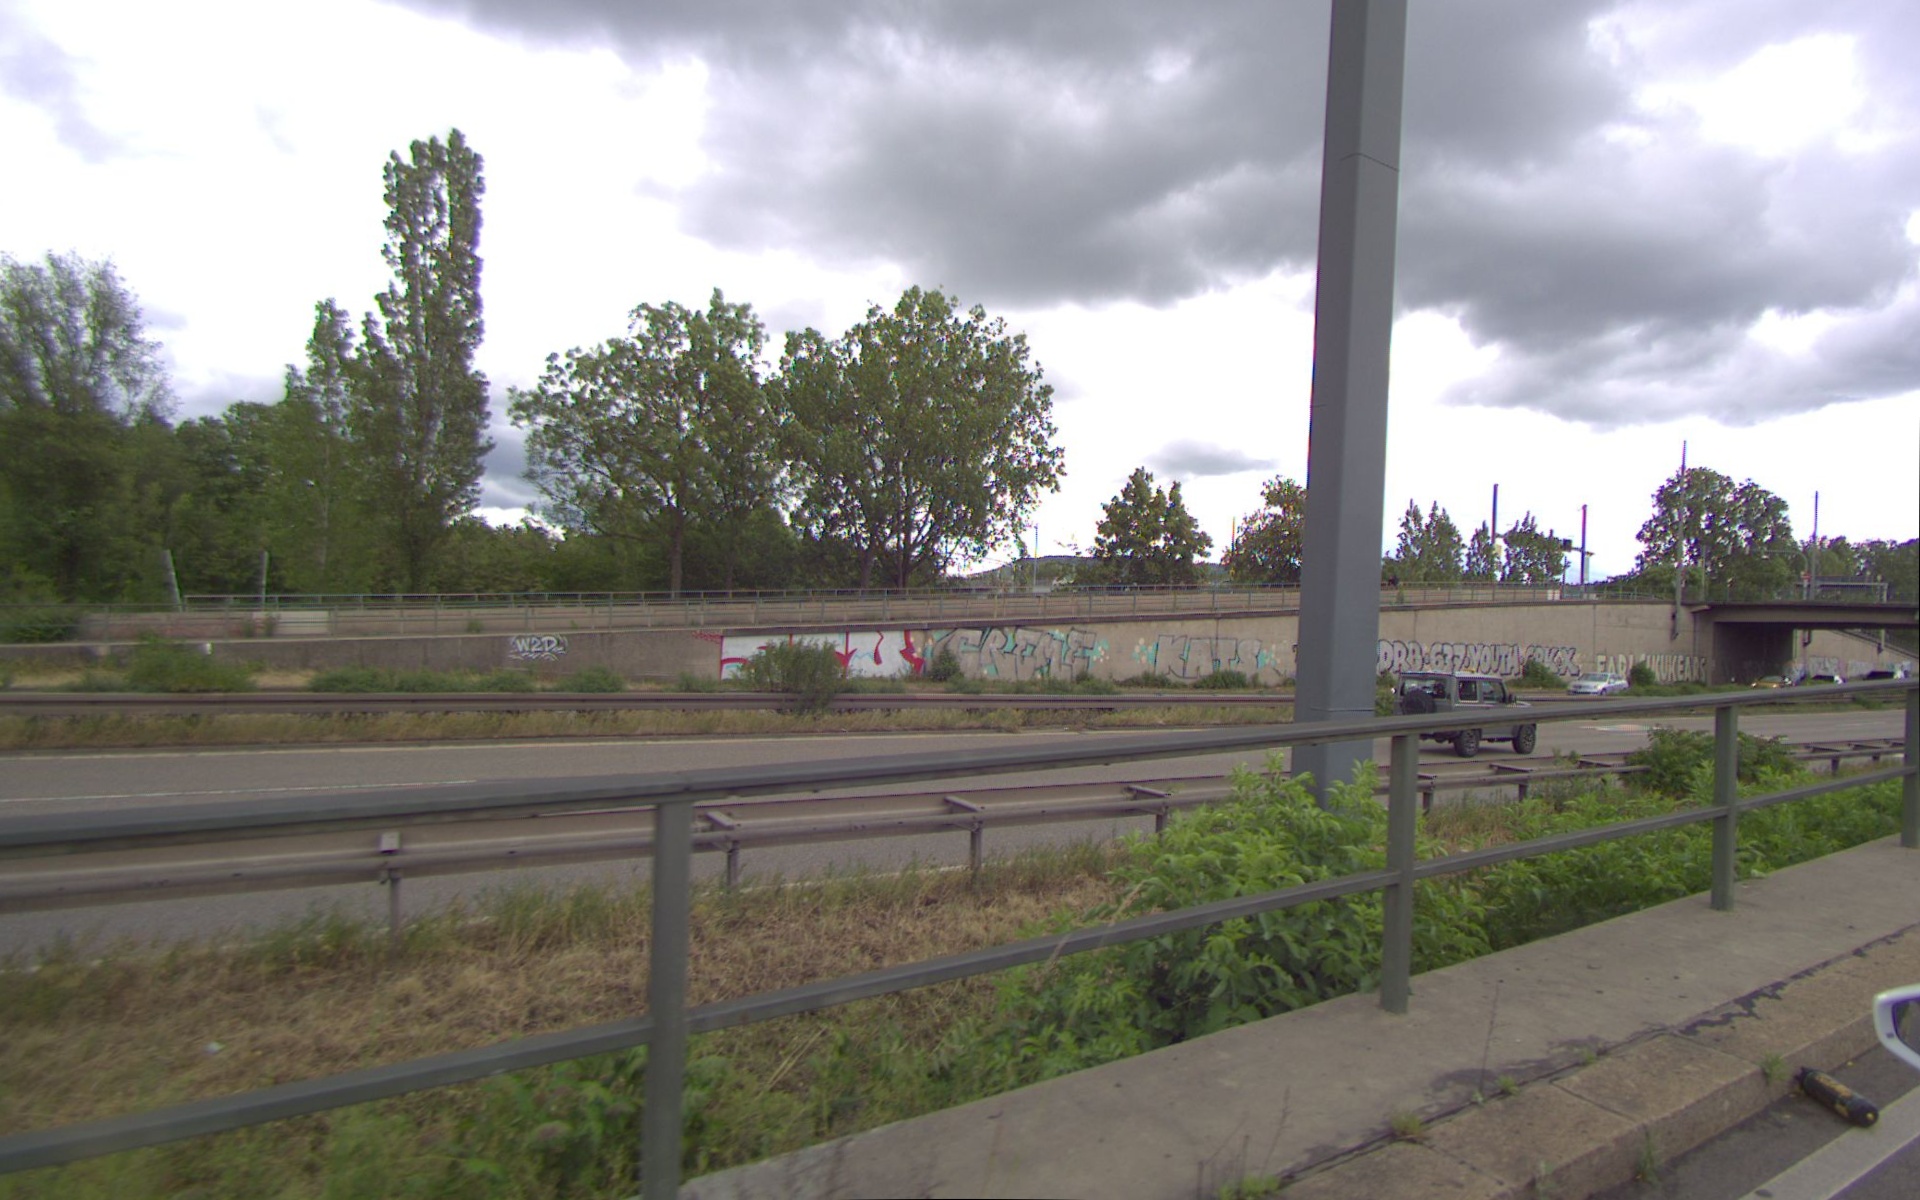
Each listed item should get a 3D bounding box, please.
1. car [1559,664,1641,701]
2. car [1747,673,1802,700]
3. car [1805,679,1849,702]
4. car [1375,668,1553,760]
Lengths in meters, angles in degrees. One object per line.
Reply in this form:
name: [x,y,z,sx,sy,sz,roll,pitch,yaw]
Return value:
car: [35.161,4.541,55.157,4.654,1.714,1.983,6,-4,-32]
car: [58.746,6.257,72.446,4.659,1.742,1.980,4,-3,-36]
car: [71.372,7.437,82.664,4.664,1.714,1.978,4,-3,-39]
car: [10.956,2.408,21.769,3.955,1.758,1.672,3,-2,-32]
